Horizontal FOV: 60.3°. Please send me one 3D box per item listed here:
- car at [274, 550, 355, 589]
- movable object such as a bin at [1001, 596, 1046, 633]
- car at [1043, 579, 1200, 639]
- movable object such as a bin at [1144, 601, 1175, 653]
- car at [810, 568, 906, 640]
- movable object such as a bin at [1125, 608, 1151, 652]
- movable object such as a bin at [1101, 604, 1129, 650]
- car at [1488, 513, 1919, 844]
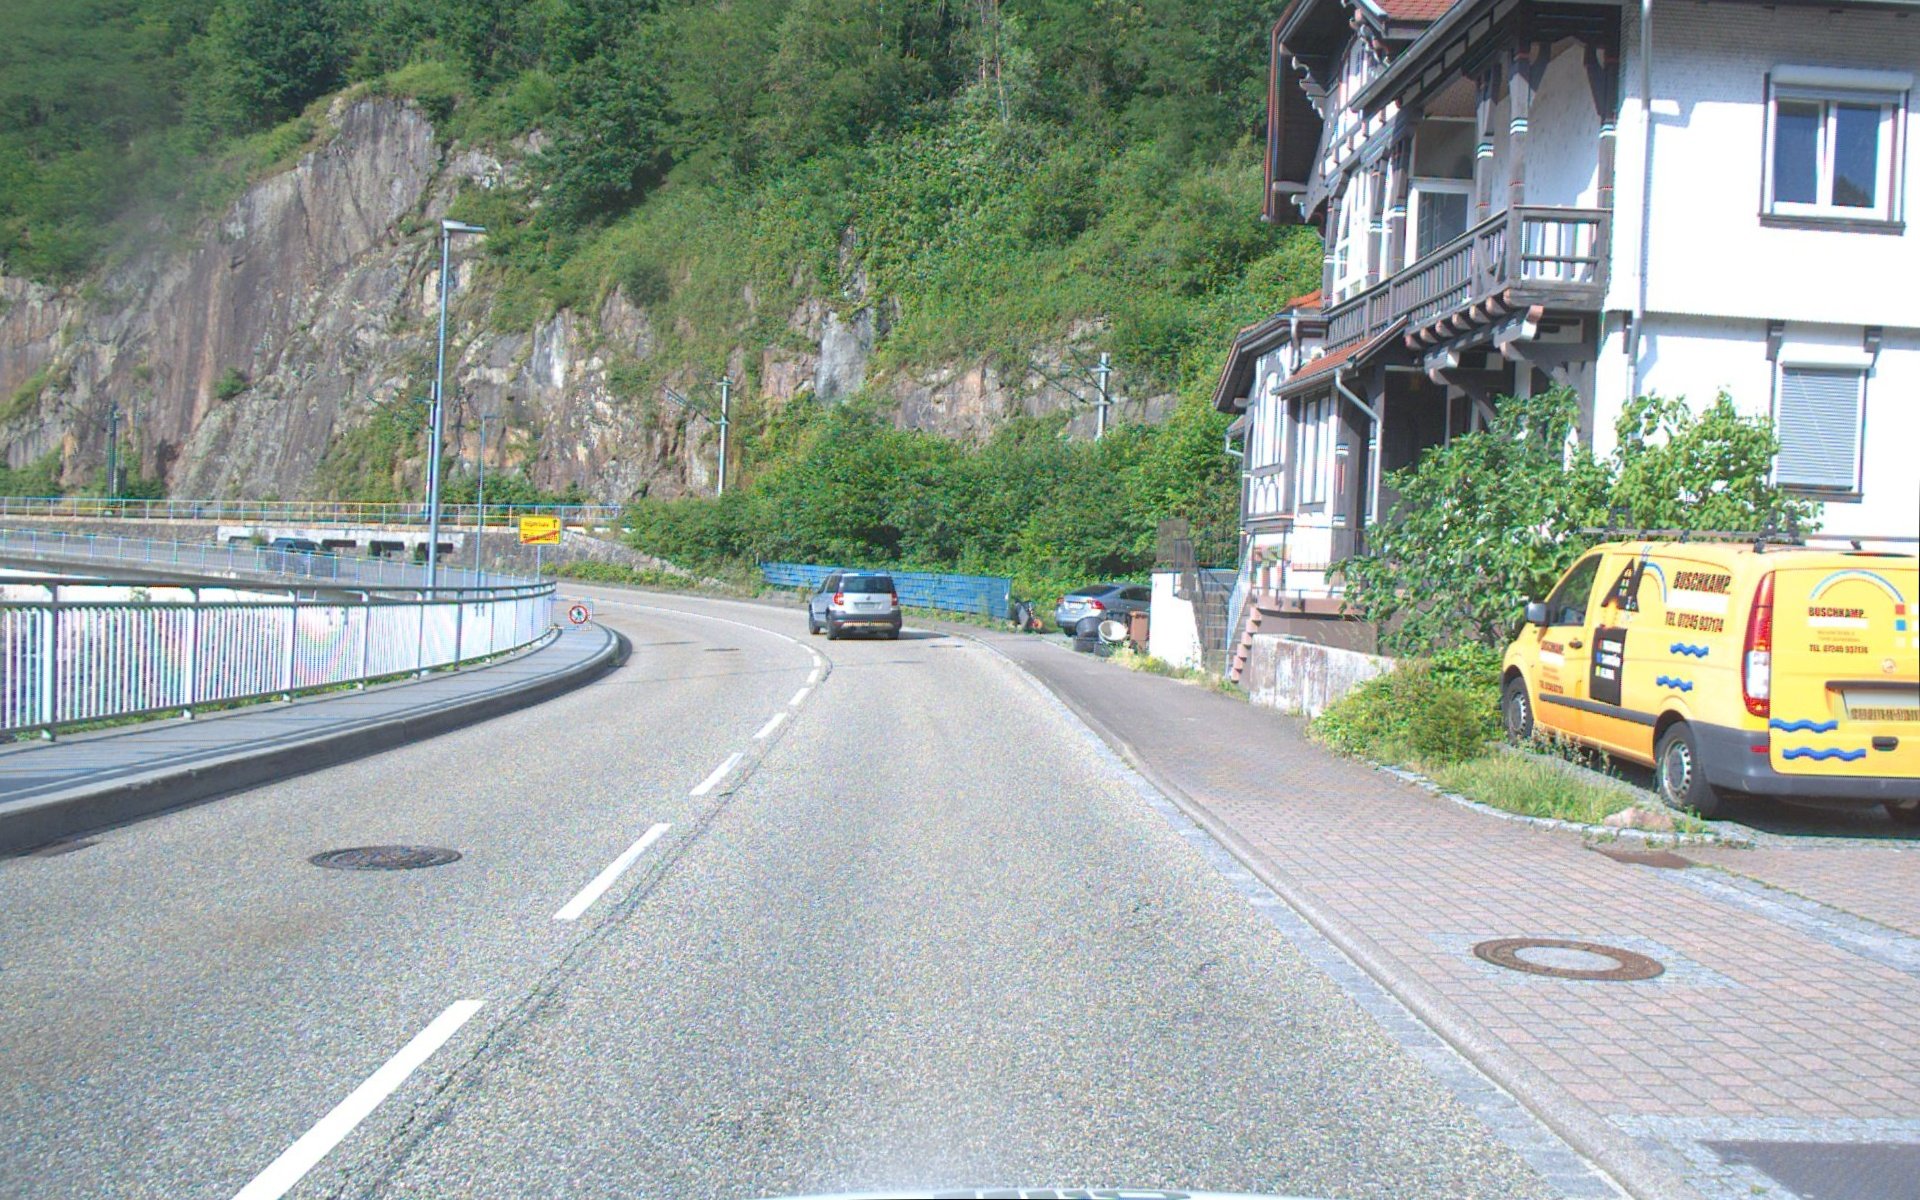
[{"bbox_3d":[-30.373,-1.455,77.830,3.924,1.671,1.812,2,0,39],"label":"car"},{"bbox_3d":[1.710,0.378,44.856,0.838,0.862,2.536,3,1,-5],"label":"movable object such as a bin"},{"bbox_3d":[4.327,0.255,43.876,4.295,1.495,1.808,2,0,-44],"label":"car"},{"bbox_3d":[4.313,0.576,35.817,0.468,1.081,0.752,3,1,-6],"label":"movable object such as a bin"},{"bbox_3d":[-2.574,0.063,40.865,1.839,1.684,3.989,0,1,-11],"label":"car"},{"bbox_3d":[3.852,0.639,35.825,0.361,0.915,0.546,3,1,-12],"label":"movable object such as a bin"},{"bbox_3d":[3.363,0.588,35.889,0.462,0.953,0.652,3,1,-6],"label":"movable object such as a bin"},{"bbox_3d":[5.817,0.470,12.712,1.870,2.032,4.834,1,1,-1],"label":"car"}]
